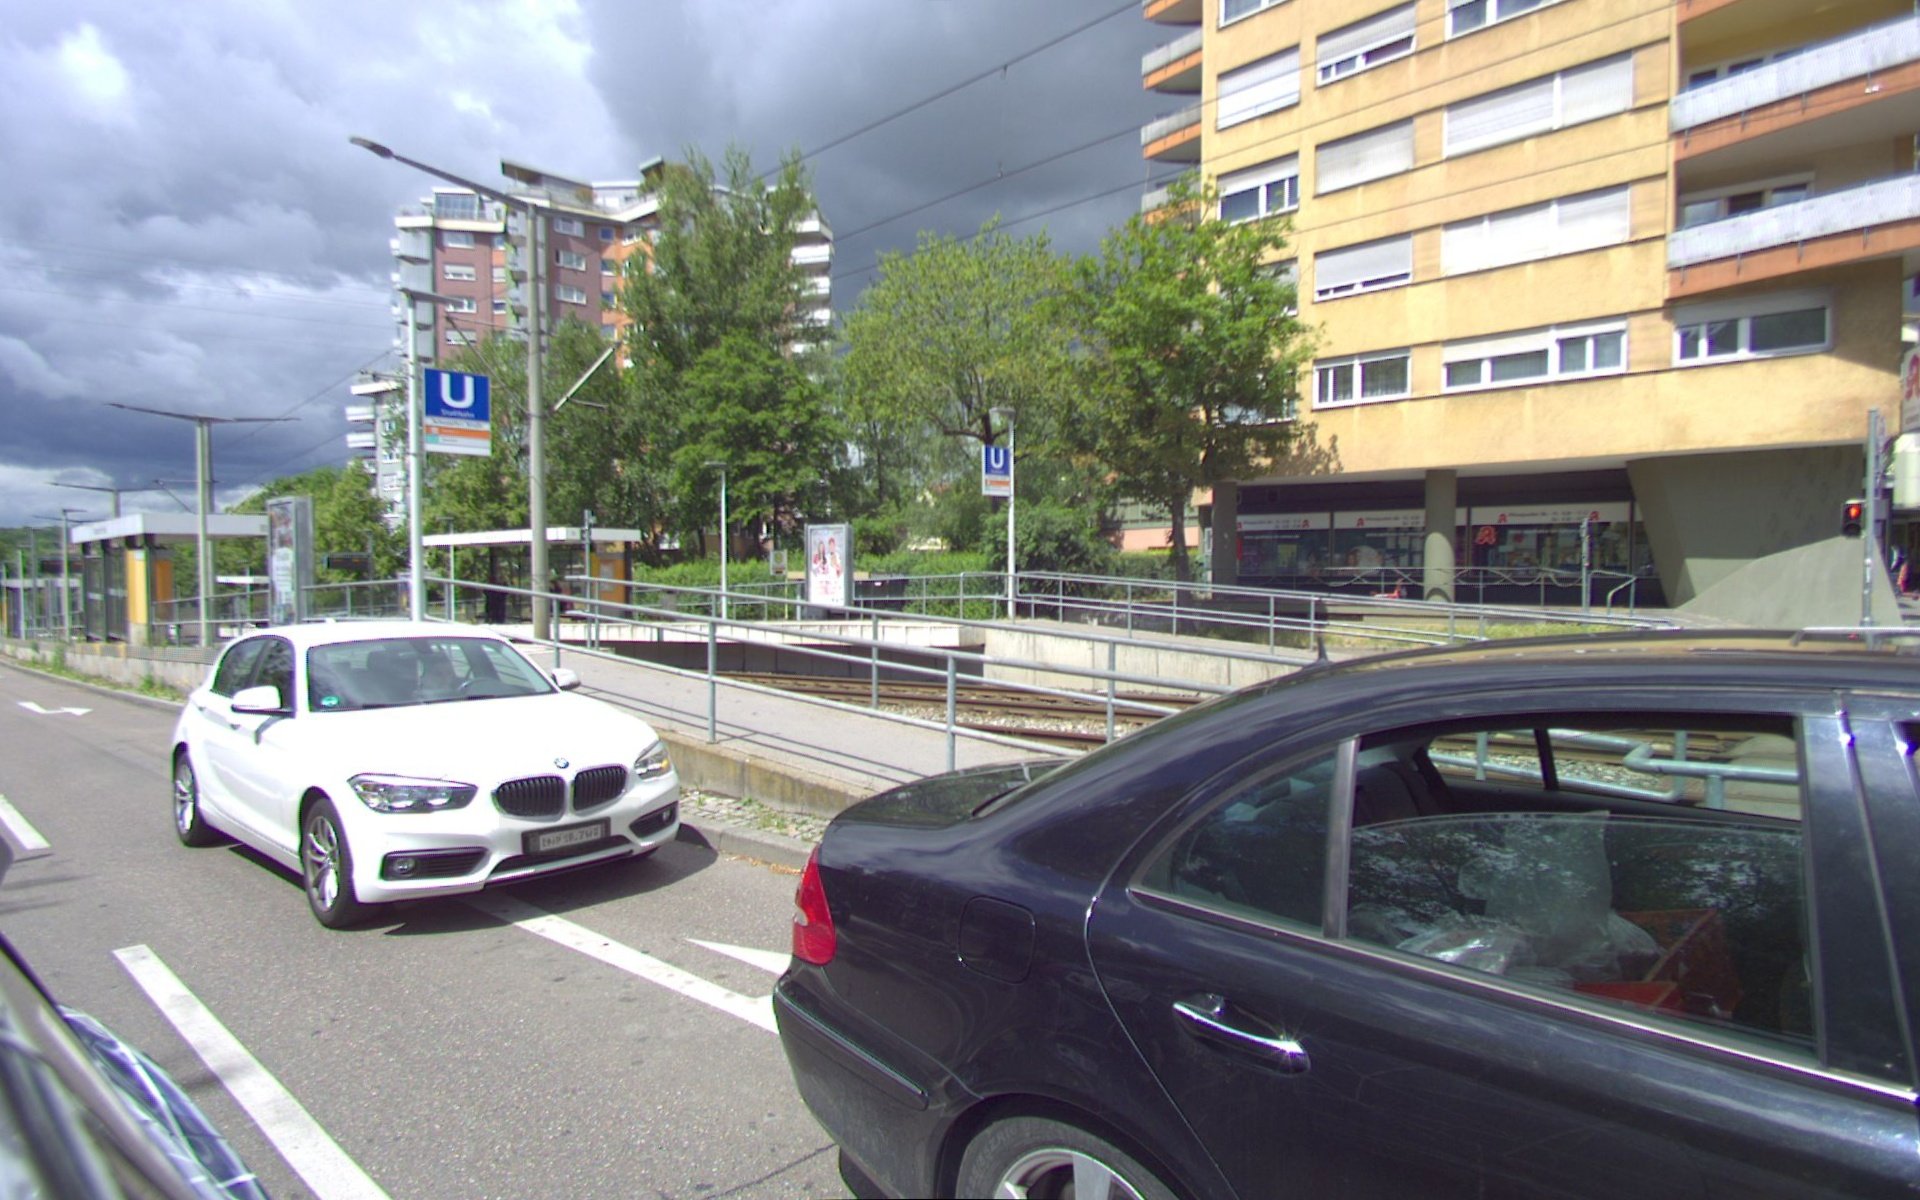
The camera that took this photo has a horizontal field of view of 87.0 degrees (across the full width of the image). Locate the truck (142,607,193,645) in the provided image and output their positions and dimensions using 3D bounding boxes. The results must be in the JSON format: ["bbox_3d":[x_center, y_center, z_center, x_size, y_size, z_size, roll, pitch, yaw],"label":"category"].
[{"bbox_3d":[-72.239,2.404,92.165,7.260,3.247,2.389,-2,-1,42],"label":"truck"}]

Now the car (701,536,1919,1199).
[{"bbox_3d":[1.690,0.662,1.407,4.542,1.472,1.710,-1,0,41],"label":"car"}]

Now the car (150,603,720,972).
[{"bbox_3d":[-3.345,0.786,6.082,3.998,1.472,1.710,-1,0,41],"label":"car"}]
